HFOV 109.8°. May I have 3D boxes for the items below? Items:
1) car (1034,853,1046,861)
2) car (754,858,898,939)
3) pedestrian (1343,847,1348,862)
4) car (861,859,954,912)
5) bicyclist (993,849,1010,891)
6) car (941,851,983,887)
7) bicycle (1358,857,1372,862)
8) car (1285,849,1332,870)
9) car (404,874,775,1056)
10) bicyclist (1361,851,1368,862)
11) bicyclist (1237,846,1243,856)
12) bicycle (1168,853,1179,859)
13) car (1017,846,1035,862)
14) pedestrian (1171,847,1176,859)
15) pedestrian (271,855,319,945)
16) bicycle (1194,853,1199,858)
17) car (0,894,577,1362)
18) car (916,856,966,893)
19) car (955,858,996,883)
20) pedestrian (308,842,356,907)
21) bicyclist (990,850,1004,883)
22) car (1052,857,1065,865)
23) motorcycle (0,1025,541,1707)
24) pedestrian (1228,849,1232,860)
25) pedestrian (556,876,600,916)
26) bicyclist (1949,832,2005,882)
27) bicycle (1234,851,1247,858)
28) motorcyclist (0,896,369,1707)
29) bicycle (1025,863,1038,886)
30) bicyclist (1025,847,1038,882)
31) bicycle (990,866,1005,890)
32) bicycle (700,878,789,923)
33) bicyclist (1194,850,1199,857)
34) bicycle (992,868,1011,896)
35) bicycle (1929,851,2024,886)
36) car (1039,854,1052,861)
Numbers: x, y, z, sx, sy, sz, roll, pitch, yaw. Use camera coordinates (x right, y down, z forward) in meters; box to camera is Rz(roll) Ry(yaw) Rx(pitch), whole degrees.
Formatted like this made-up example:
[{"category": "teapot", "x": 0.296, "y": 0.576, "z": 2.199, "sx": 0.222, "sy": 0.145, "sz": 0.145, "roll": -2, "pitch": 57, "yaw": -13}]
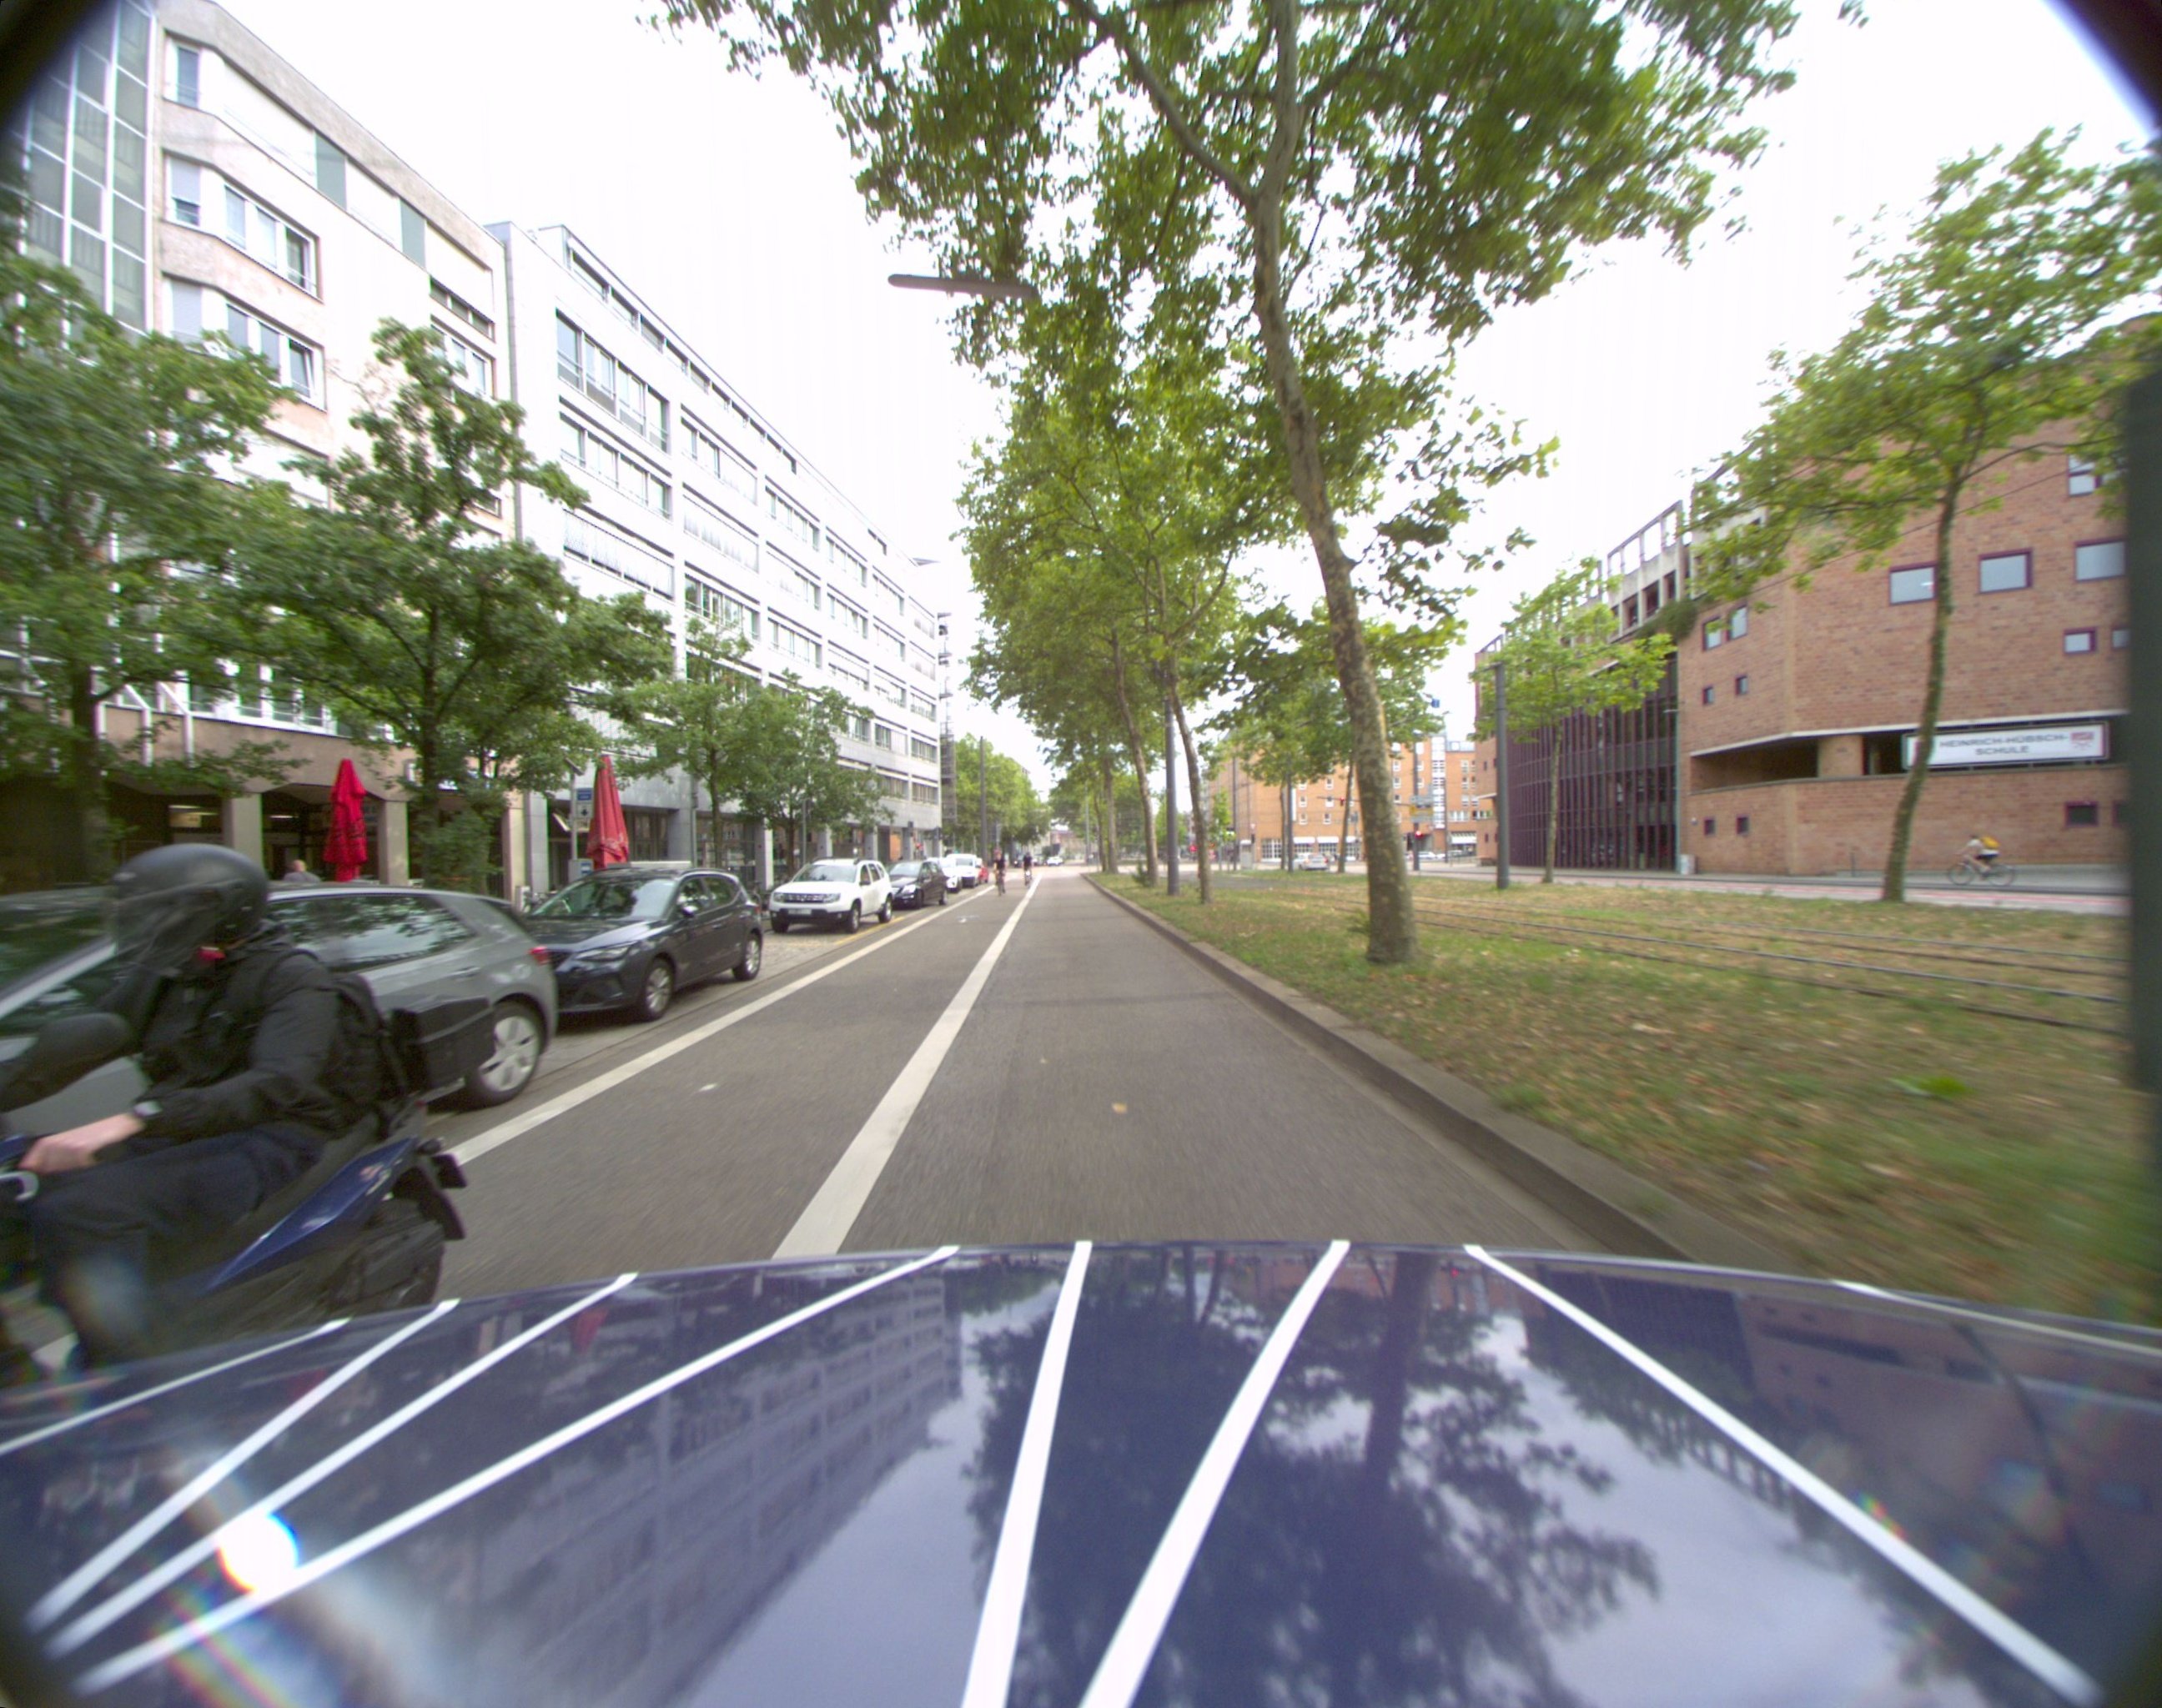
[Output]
[{"category": "car", "x": -7.820, "y": 0.593, "z": 144.509, "sx": 1.915, "sy": 1.533, "sz": 4.093, "roll": -1, "pitch": 0, "yaw": 3}, {"category": "car", "x": -5.756, "y": 0.938, "z": 17.766, "sx": 1.866, "sy": 1.643, "sz": 4.164, "roll": 0, "pitch": 0, "yaw": 1}, {"category": "pedestrian", "x": 36.128, "y": 0.054, "z": 103.879, "sx": 0.524, "sy": 2.002, "sz": 0.447, "roll": -1, "pitch": 1, "yaw": 13}, {"category": "car", "x": -5.674, "y": 0.991, "z": 25.404, "sx": 1.778, "sy": 1.567, "sz": 4.306, "roll": 1, "pitch": 0, "yaw": 5}, {"category": "bicyclist", "x": -3.425, "y": 0.674, "z": 32.793, "sx": 0.591, "sy": 1.758, "sz": 1.035, "roll": -1, "pitch": 0, "yaw": -1}, {"category": "car", "x": -6.463, "y": 0.795, "z": 41.656, "sx": 1.832, "sy": 1.853, "sz": 4.646, "roll": 1, "pitch": 0, "yaw": -4}, {"category": "bicycle", "x": 42.119, "y": 0.826, "z": 112.797, "sx": 1.796, "sy": 0.777, "sz": 0.640, "roll": -1, "pitch": 1, "yaw": -4}, {"category": "car", "x": 16.682, "y": 0.379, "z": 55.952, "sx": 1.788, "sy": 1.413, "sz": 4.657, "roll": -1, "pitch": 0, "yaw": -3}, {"category": "car", "x": -5.189, "y": 1.038, "z": 8.828, "sx": 1.720, "sy": 1.510, "sz": 4.203, "roll": 0, "pitch": 0, "yaw": -2}, {"category": "bicyclist", "x": 42.075, "y": 0.384, "z": 112.781, "sx": 0.865, "sy": 1.493, "sz": 0.636, "roll": -1, "pitch": 1, "yaw": -4}, {"category": "bicyclist", "x": 24.780, "y": -0.478, "z": 118.080, "sx": 0.864, "sy": 1.493, "sz": 0.637, "roll": -1, "pitch": 1, "yaw": 8}, {"category": "bicycle", "x": 14.546, "y": 0.345, "z": 119.611, "sx": 1.711, "sy": 0.884, "sz": 0.499, "roll": -1, "pitch": 1, "yaw": 1}, {"category": "car", "x": -8.923, "y": -0.045, "z": 124.040, "sx": 2.174, "sy": 2.441, "sz": 6.997, "roll": -1, "pitch": 0, "yaw": 2}, {"category": "pedestrian", "x": 14.495, "y": -0.191, "z": 119.239, "sx": 0.693, "sy": 1.941, "sz": 0.534, "roll": -1, "pitch": 1, "yaw": -4}, {"category": "pedestrian", "x": -13.952, "y": 0.801, "z": 13.489, "sx": 0.516, "sy": 1.560, "sz": 0.481, "roll": -1, "pitch": 1, "yaw": 34}, {"category": "bicycle", "x": 23.515, "y": 0.243, "z": 154.510, "sx": 0.659, "sy": 0.931, "sz": 1.892, "roll": -1, "pitch": 1, "yaw": -6}, {"category": "car", "x": -4.746, "y": 1.065, "z": 3.645, "sx": 1.744, "sy": 1.510, "sz": 4.401, "roll": 0, "pitch": 0, "yaw": 0}, {"category": "car", "x": -6.511, "y": 0.937, "z": 35.822, "sx": 2.001, "sy": 1.593, "sz": 4.580, "roll": 1, "pitch": 0, "yaw": -7}, {"category": "car", "x": -6.514, "y": 0.970, "z": 47.266, "sx": 1.726, "sy": 1.424, "sz": 4.254, "roll": 1, "pitch": 0, "yaw": 2}, {"category": "pedestrian", "x": -13.774, "y": 0.376, "z": 13.971, "sx": 0.516, "sy": 1.170, "sz": 0.458, "roll": -1, "pitch": 1, "yaw": 27}, {"category": "bicyclist", "x": -4.228, "y": 0.641, "z": 38.360, "sx": 0.591, "sy": 1.644, "sz": 1.035, "roll": -1, "pitch": 0, "yaw": -1}, {"category": "car", "x": -3.886, "y": 1.222, "z": 130.588, "sx": 1.845, "sy": 1.369, "sz": 3.835, "roll": -1, "pitch": -1, "yaw": 3}, {"category": "motorcycle", "x": -2.355, "y": 1.204, "z": 1.714, "sx": 0.769, "sy": 1.101, "sz": 2.207, "roll": -1, "pitch": 1, "yaw": -4}, {"category": "pedestrian", "x": 23.655, "y": 0.034, "z": 120.524, "sx": 0.563, "sy": 1.696, "sz": 0.534, "roll": -1, "pitch": 1, "yaw": -1}, {"category": "pedestrian", "x": -15.025, "y": 1.236, "z": 22.721, "sx": 0.822, "sy": 1.150, "sz": 0.699, "roll": -1, "pitch": 0, "yaw": 10}, {"category": "bicyclist", "x": 29.467, "y": 0.099, "z": 25.013, "sx": 0.665, "sy": 1.581, "sz": 0.984, "roll": -1, "pitch": 0, "yaw": 1}, {"category": "bicycle", "x": 24.778, "y": 0.024, "z": 118.094, "sx": 2.057, "sy": 1.002, "sz": 0.640, "roll": -1, "pitch": 1, "yaw": 8}, {"category": "motorcyclist", "x": -2.352, "y": 0.882, "z": 1.573, "sx": 0.761, "sy": 1.510, "sz": 1.017, "roll": -1, "pitch": 1, "yaw": -4}, {"category": "bicycle", "x": -2.527, "y": 1.058, "z": 39.012, "sx": 0.596, "sy": 1.132, "sz": 1.858, "roll": -1, "pitch": 0, "yaw": -1}, {"category": "bicyclist", "x": -2.535, "y": 0.517, "z": 39.045, "sx": 0.591, "sy": 1.760, "sz": 1.035, "roll": -1, "pitch": 0, "yaw": -1}, {"category": "bicycle", "x": -4.223, "y": 1.186, "z": 38.382, "sx": 0.596, "sy": 1.132, "sz": 1.734, "roll": -1, "pitch": 0, "yaw": -1}, {"category": "bicycle", "x": -8.717, "y": 1.192, "z": 19.729, "sx": 2.041, "sy": 1.118, "sz": 0.596, "roll": -1, "pitch": 0, "yaw": -2}, {"category": "bicyclist", "x": 23.508, "y": -0.139, "z": 154.507, "sx": 0.651, "sy": 1.493, "sz": 0.817, "roll": -1, "pitch": 1, "yaw": -6}, {"category": "bicycle", "x": -3.419, "y": 1.189, "z": 32.763, "sx": 0.596, "sy": 1.132, "sz": 2.090, "roll": -1, "pitch": 0, "yaw": -1}, {"category": "bicycle", "x": 29.479, "y": 0.459, "z": 25.066, "sx": 0.669, "sy": 1.078, "sz": 2.093, "roll": -1, "pitch": 0, "yaw": 1}, {"category": "car", "x": -7.056, "y": 0.650, "z": 152.440, "sx": 1.998, "sy": 1.270, "sz": 4.001, "roll": -1, "pitch": 1, "yaw": 6}]
